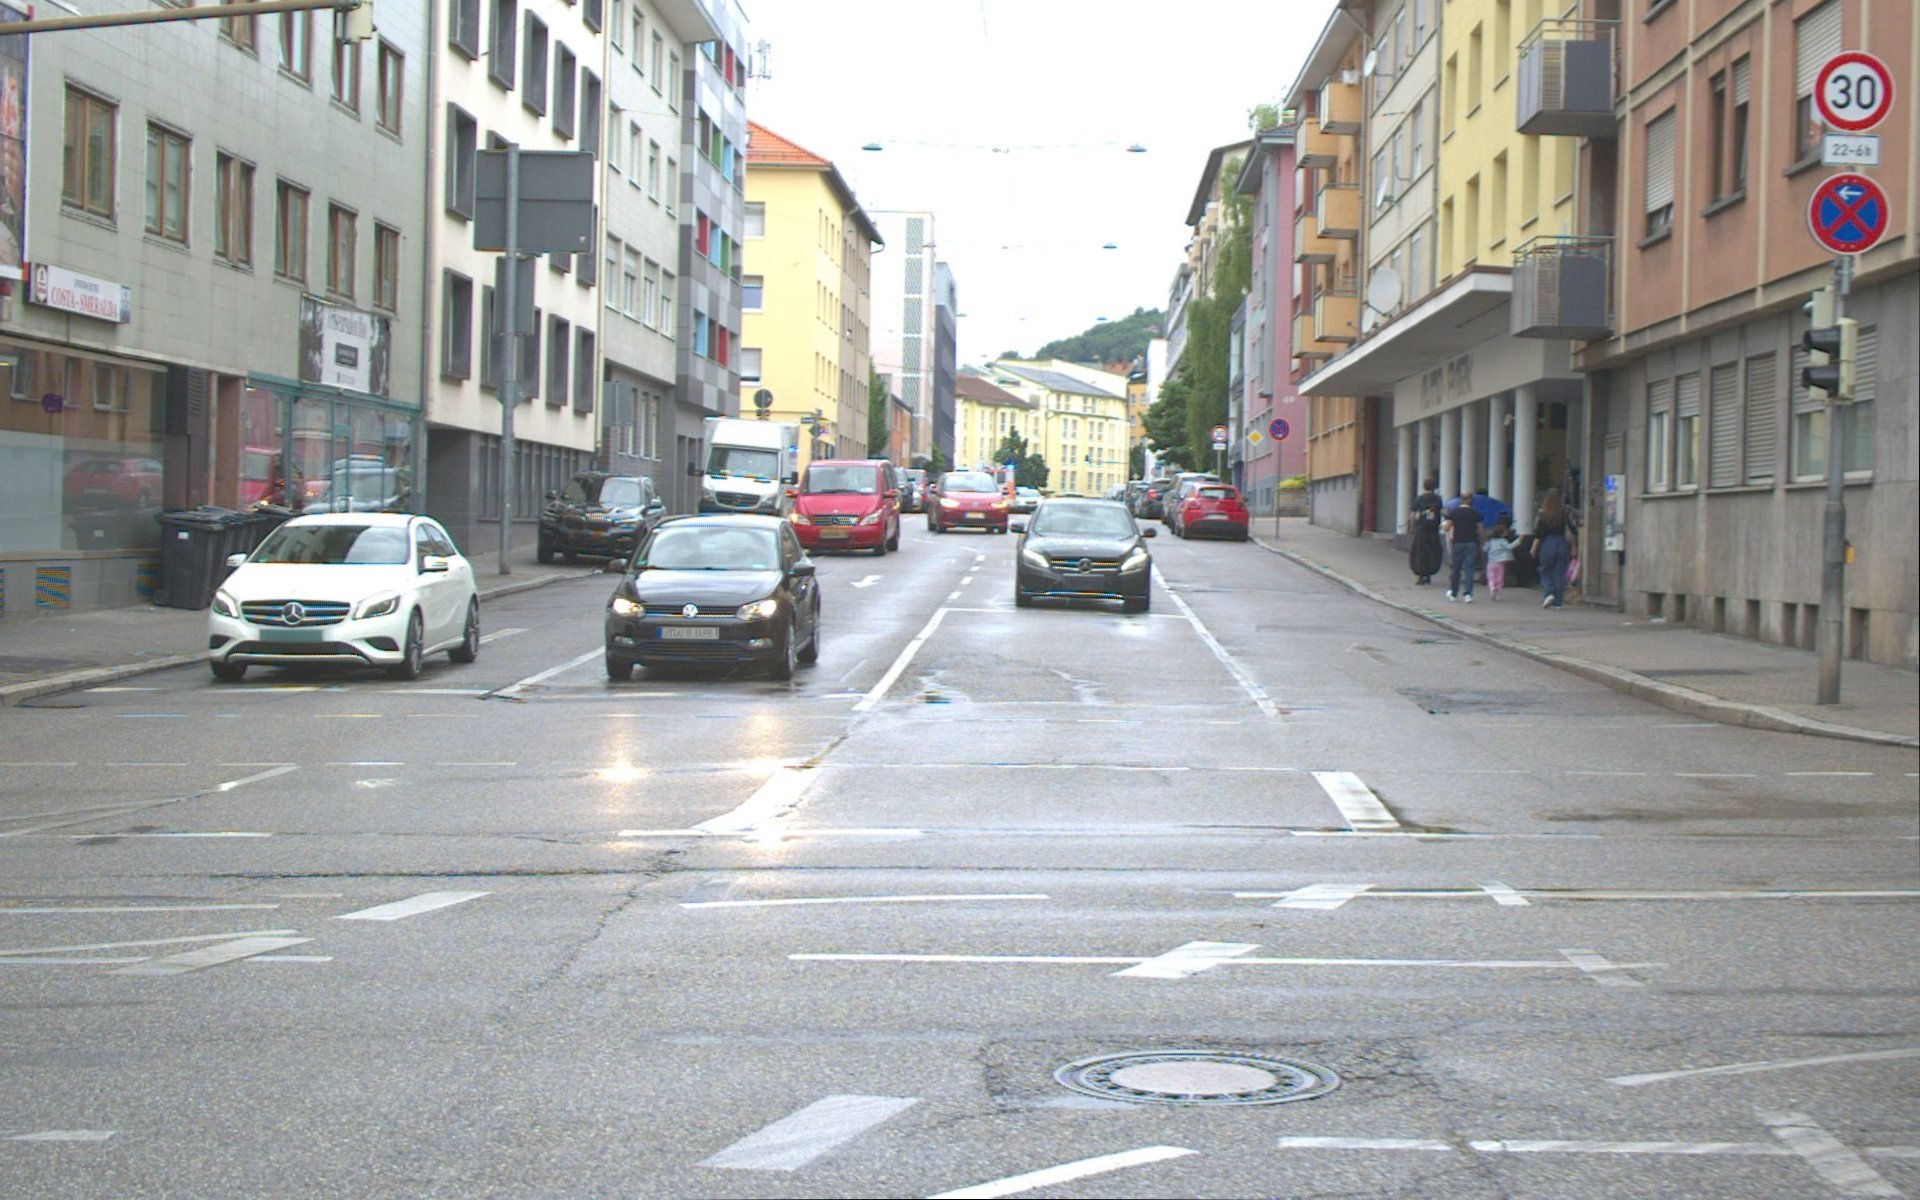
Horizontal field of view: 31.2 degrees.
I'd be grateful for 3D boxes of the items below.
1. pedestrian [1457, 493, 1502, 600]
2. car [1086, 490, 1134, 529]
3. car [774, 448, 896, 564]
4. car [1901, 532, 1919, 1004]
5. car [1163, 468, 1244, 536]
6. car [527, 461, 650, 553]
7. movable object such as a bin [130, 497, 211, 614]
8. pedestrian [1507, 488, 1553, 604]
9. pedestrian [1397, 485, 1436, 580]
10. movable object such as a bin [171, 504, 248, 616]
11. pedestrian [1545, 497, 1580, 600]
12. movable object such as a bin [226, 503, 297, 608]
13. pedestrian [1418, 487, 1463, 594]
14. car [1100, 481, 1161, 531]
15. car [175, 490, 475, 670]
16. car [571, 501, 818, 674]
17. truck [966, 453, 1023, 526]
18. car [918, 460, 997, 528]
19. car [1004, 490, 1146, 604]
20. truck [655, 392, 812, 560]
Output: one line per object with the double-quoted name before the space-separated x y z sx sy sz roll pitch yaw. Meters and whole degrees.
"pedestrian" 7.656 -0.791 50.650 0.520 1.513 0.569 2 4 2
"car" 6.865 -4.105 156.634 2.016 1.557 3.999 2 0 4
"car" -2.454 -1.850 68.658 2.065 2.233 4.619 0 1 3
"car" 3.704 0.567 8.490 1.660 1.415 4.073 0 2 0
"car" 6.426 -2.563 90.824 2.016 1.557 5.154 2 0 4
"car" -6.645 -1.649 61.888 1.724 1.597 4.000 0 1 1
"movable object such as a bin" -9.101 -0.510 39.657 0.697 1.311 0.782 2 0 0
"pedestrian" 7.938 -0.754 47.888 0.479 1.560 0.558 2 4 2
"pedestrian" 7.684 -1.148 57.890 0.520 1.550 0.569 2 4 2
"movable object such as a bin" -9.061 -0.479 41.521 0.697 1.311 0.782 2 0 0
"pedestrian" 8.391 -0.720 47.876 0.363 1.394 0.370 2 4 2
"movable object such as a bin" -8.988 -0.563 44.235 0.697 1.311 0.782 2 0 0
"pedestrian" 7.092 -0.884 50.736 0.520 1.533 0.569 2 4 2
"car" 6.099 -3.339 122.633 2.016 1.557 3.999 2 0 4
"car" -5.652 -0.208 31.064 1.844 1.507 4.000 0 1 2
"car" -2.375 -0.150 31.649 1.844 1.484 4.000 0 1 2
"truck" 2.043 -6.407 200.501 2.808 3.819 8.143 2 0 3
"car" -0.042 -2.722 88.603 1.844 1.668 4.000 0 1 2
"car" 1.560 -0.718 46.880 1.844 1.484 4.000 0 1 2
"truck" -5.611 -3.019 86.527 2.808 3.819 8.143 2 0 3
